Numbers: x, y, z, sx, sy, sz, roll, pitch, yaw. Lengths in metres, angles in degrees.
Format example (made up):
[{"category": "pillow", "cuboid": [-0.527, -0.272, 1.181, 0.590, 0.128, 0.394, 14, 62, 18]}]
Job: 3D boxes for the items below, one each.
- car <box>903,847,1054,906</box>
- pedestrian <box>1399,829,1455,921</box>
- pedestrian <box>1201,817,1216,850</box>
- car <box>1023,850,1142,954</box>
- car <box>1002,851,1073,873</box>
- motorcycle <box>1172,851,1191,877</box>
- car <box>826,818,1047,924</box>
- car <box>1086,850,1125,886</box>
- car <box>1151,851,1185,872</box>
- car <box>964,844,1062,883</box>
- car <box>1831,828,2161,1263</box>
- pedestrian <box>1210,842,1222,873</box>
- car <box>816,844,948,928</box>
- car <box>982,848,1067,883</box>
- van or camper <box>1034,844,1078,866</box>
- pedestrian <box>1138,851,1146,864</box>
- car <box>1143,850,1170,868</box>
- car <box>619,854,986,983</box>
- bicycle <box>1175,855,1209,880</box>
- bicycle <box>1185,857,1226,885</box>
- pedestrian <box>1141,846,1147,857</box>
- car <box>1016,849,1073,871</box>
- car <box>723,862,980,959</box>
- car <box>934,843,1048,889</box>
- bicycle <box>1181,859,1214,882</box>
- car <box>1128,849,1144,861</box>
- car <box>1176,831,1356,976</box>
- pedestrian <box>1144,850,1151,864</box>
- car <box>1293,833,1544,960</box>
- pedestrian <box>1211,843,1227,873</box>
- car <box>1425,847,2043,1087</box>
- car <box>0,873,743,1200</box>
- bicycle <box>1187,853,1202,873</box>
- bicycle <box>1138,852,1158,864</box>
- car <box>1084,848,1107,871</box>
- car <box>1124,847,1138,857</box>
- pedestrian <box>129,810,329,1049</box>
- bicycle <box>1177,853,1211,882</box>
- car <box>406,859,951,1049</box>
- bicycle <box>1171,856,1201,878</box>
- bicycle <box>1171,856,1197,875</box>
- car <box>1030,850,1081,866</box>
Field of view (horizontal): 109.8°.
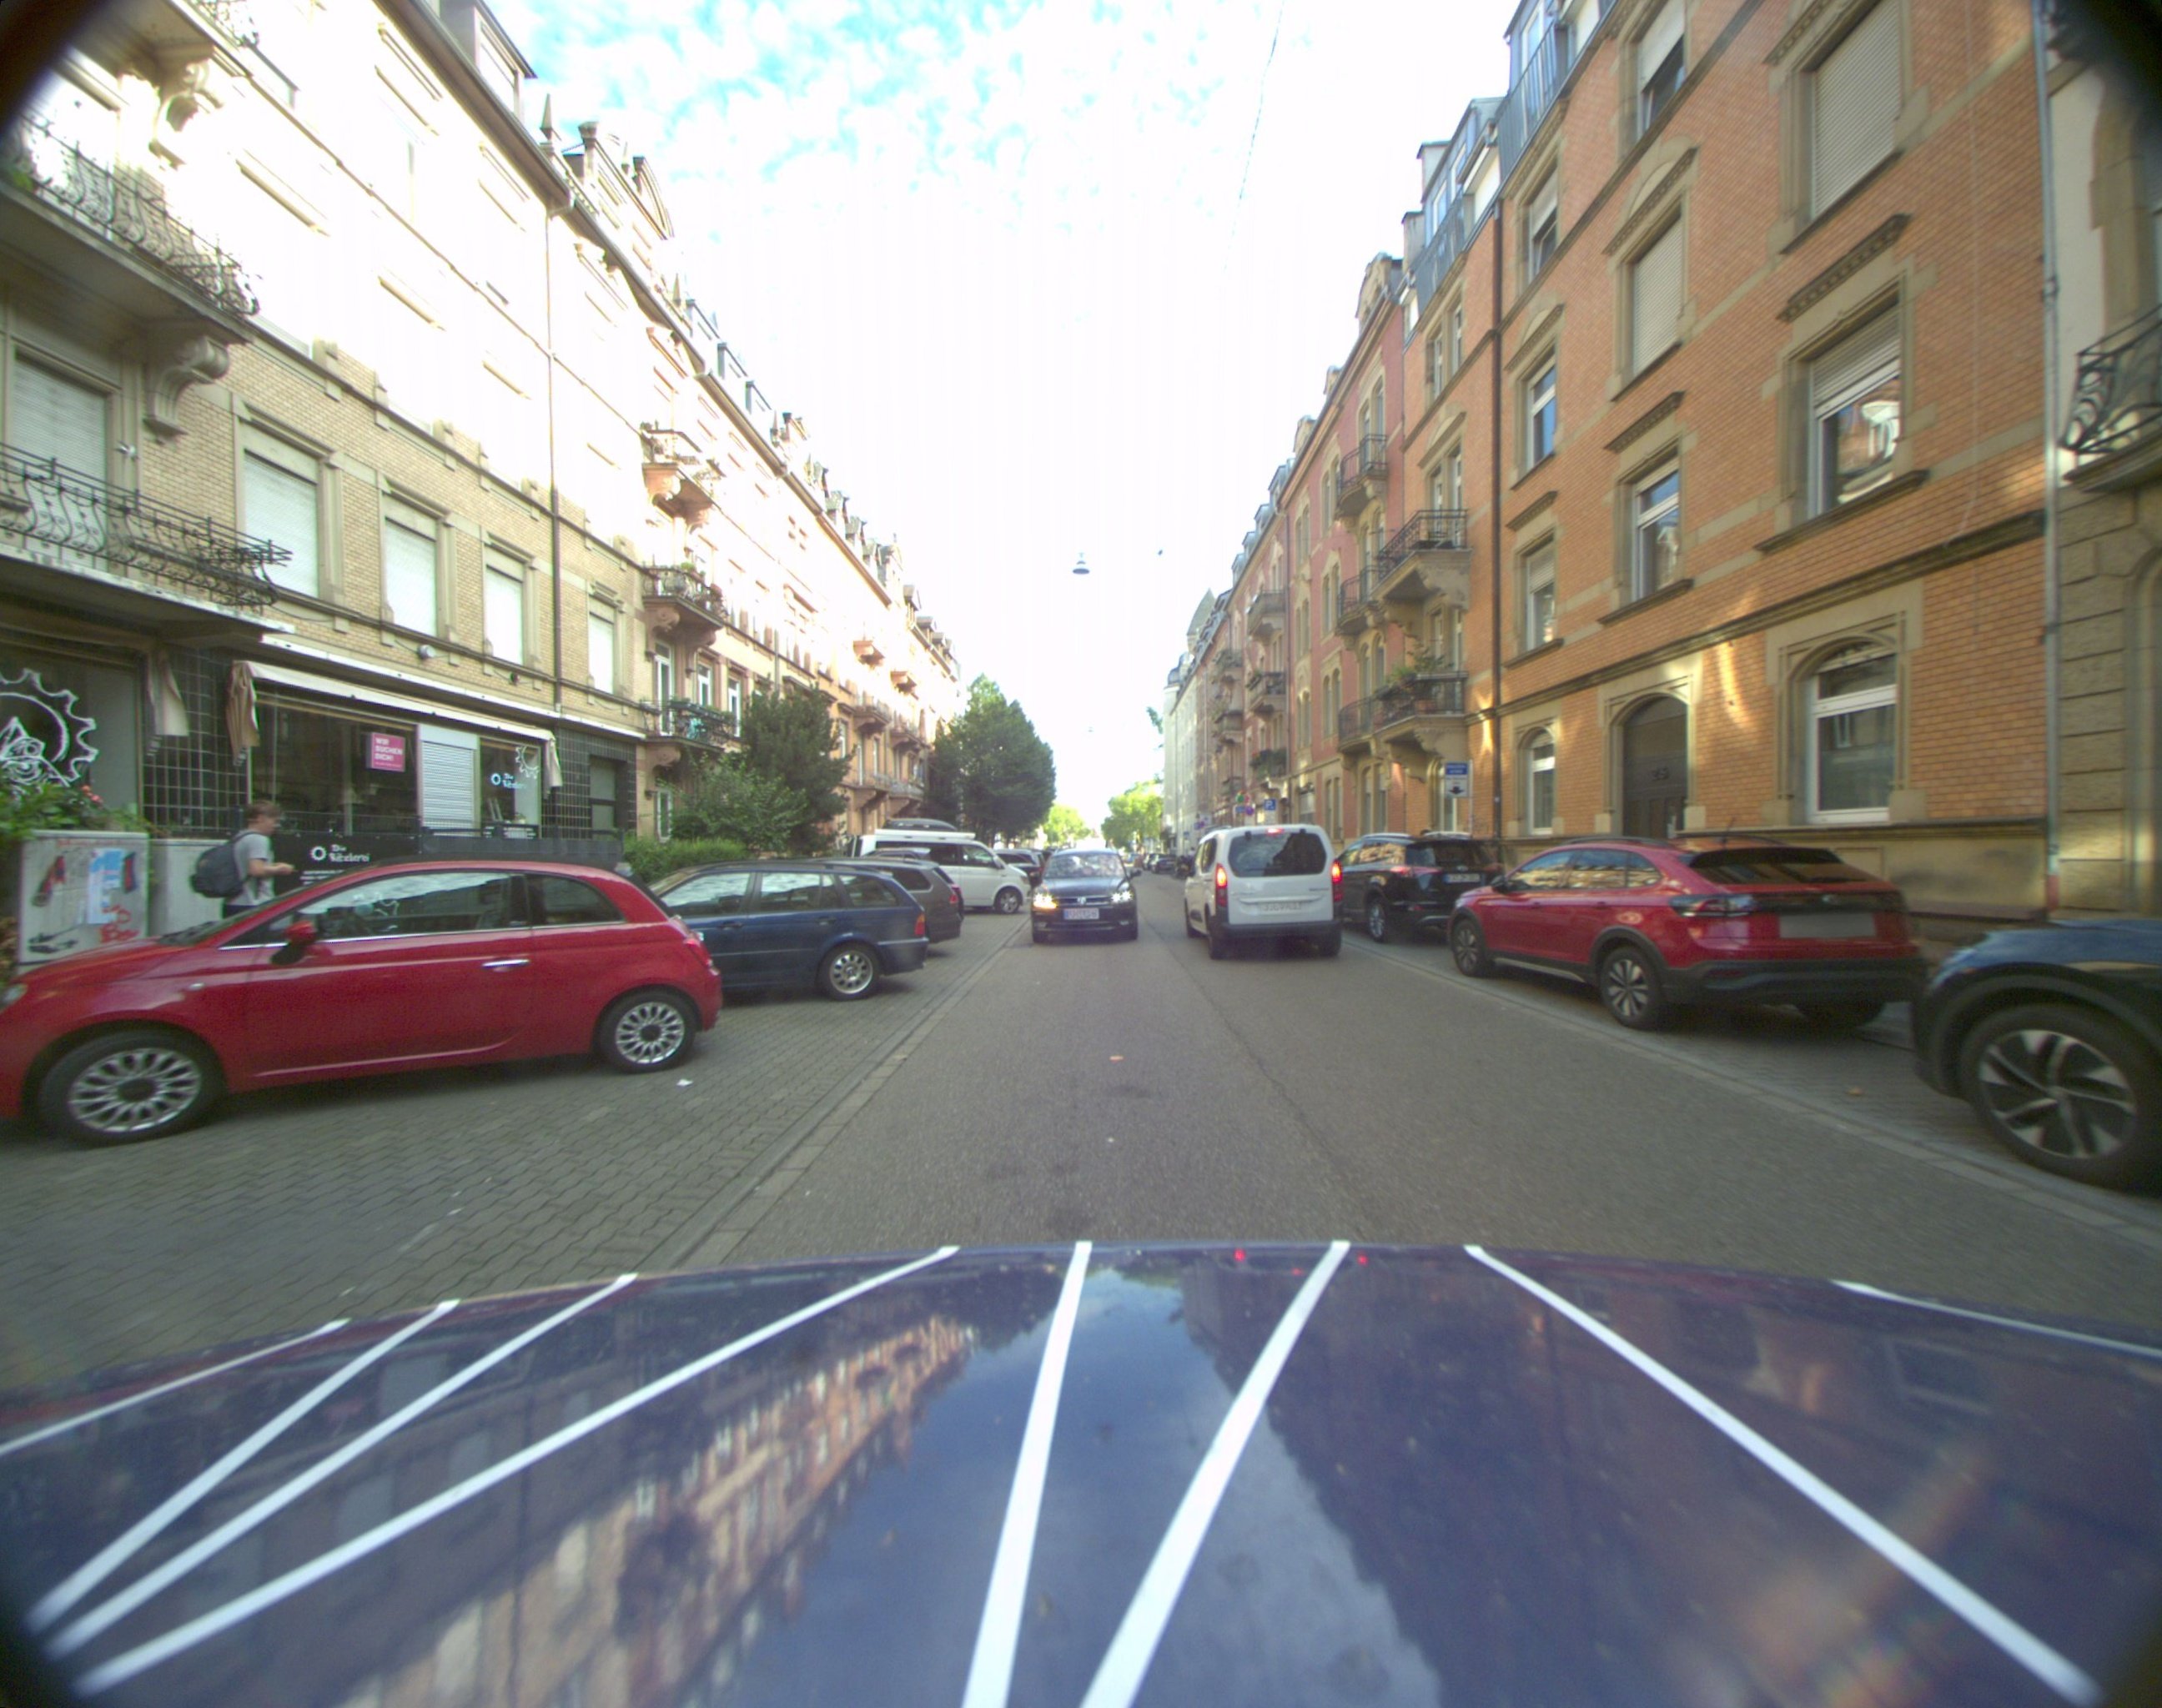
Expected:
[{"category": "car", "cuboid": [-3.343, 0.689, 25.014, 4.465, 1.722, 1.995, -1, 0, -34]}, {"category": "pedestrian", "cuboid": [7.072, 0.418, 15.575, 0.758, 1.797, 0.863, -2, 1, 5]}, {"category": "pedestrian", "cuboid": [7.367, -1.169, 43.882, 0.646, 1.881, 0.602, -1, 1, 31]}, {"category": "car", "cuboid": [0.189, 0.775, 14.625, 1.874, 1.644, 4.388, -2, 0, 5]}, {"category": "car", "cuboid": [-3.023, 0.578, 53.056, 4.620, 1.443, 1.788, 1, 0, -31]}, {"category": "motorcycle", "cuboid": [5.574, 0.527, 42.090, 0.708, 1.376, 2.026, -2, 1, 16]}, {"category": "car", "cuboid": [-3.586, 0.376, 19.287, 5.169, 2.391, 1.913, 0, 1, -32]}, {"category": "car", "cuboid": [1.265, 0.663, 38.467, 1.810, 1.622, 4.001, -3, 0, 2]}, {"category": "car", "cuboid": [6.001, 0.481, 52.884, 1.816, 1.343, 5.114, -1, 0, 0]}, {"category": "car", "cuboid": [-3.281, 0.479, 37.019, 4.411, 1.812, 1.750, 1, 1, -30]}, {"category": "car", "cuboid": [4.887, 0.723, 1.648, 1.795, 1.619, 4.847, 0, 1, 1]}, {"category": "pedestrian", "cuboid": [7.792, 0.213, 43.862, 0.605, 1.741, 0.726, -1, 1, 12]}, {"category": "car", "cuboid": [-4.248, 0.699, 16.214, 2.472, 1.656, 1.344, 3, -1, -25]}, {"category": "car", "cuboid": [-2.962, 0.578, 39.662, 4.007, 1.731, 1.835, 1, 0, -30]}, {"category": "van or camper", "cuboid": [-2.539, 0.091, 78.157, 4.006, 2.166, 1.995, -2, 1, -29]}, {"category": "pedestrian", "cuboid": [6.190, 0.343, 77.260, 0.738, 1.341, 0.644, -2, 1, 4]}, {"category": "car", "cuboid": [6.188, 0.383, 62.745, 1.674, 1.407, 4.011, -2, 0, -2]}, {"category": "car", "cuboid": [-3.791, 0.817, 10.768, 4.479, 1.468, 1.884, 3, -1, -38]}, {"category": "bicycle", "cuboid": [5.768, 0.692, 39.572, 1.794, 1.193, 0.589, -2, 1, -35]}, {"category": "bicycle", "cuboid": [5.642, 0.755, 34.304, 0.806, 1.152, 2.274, -1, 1, 39]}, {"category": "pedestrian", "cuboid": [9.264, -0.356, 111.672, 0.845, 1.699, 0.879, -2, 1, 1]}, {"category": "car", "cuboid": [-2.828, 0.446, 59.332, 4.007, 1.689, 1.848, 0, 0, -34]}, {"category": "car", "cuboid": [-3.976, 0.885, 13.507, 4.003, 1.451, 1.746, 1, 0, -40]}, {"category": "car", "cuboid": [-3.807, 0.527, 32.841, 4.648, 1.774, 1.810, 2, -1, 0]}, {"category": "bicycle", "cuboid": [5.993, 0.824, 38.981, 1.741, 1.114, 0.554, -2, 1, -35]}, {"category": "car", "cuboid": [7.170, 0.069, 99.181, 1.828, 1.477, 4.170, -2, 0, 1]}, {"category": "car", "cuboid": [2.651, 0.623, 11.983, 1.922, 1.817, 4.438, -2, 1, 3]}, {"category": "pedestrian", "cuboid": [6.726, 0.290, 76.670, 0.689, 1.365, 0.739, -2, 1, 5]}, {"category": "car", "cuboid": [5.316, 0.591, 12.849, 1.878, 1.671, 4.893, -2, 0, -2]}, {"category": "pedestrian", "cuboid": [8.215, 0.217, 45.240, 0.688, 1.749, 0.667, -1, 1, 31]}, {"category": "car", "cuboid": [5.207, 0.710, 7.114, 1.998, 1.536, 4.426, 0, 1, 0]}, {"category": "car", "cuboid": [-4.427, 0.879, 4.998, 3.727, 1.476, 1.736, 1, 0, -37]}, {"category": "bicycle", "cuboid": [6.254, 0.486, 41.855, 0.579, 1.084, 1.740, -2, 1, 14]}, {"category": "bicycle", "cuboid": [6.668, 0.404, 75.545, 1.872, 1.168, 0.688, -2, 1, 3]}, {"category": "car", "cuboid": [1.319, 0.473, 66.738, 1.810, 1.914, 4.001, -3, 0, 2]}, {"category": "car", "cuboid": [7.343, -0.287, 111.660, 1.911, 1.412, 4.000, -2, 0, 1]}, {"category": "pedestrian", "cuboid": [-7.036, 0.588, 6.313, 0.841, 1.867, 0.723, 0, 1, 6]}, {"category": "bicycle", "cuboid": [5.414, 0.655, 36.465, 1.680, 1.314, 0.526, -2, 1, -34]}, {"category": "car", "cuboid": [-3.818, 0.837, 7.865, 4.477, 1.455, 1.875, 2, -1, -33]}, {"category": "bicycle", "cuboid": [5.564, 0.691, 40.192, 1.573, 1.114, 0.589, -2, 1, -35]}, {"category": "bicycle", "cuboid": [6.056, 0.668, 44.699, 1.577, 1.110, 0.375, -1, 1, 40]}, {"category": "car", "cuboid": [-2.516, 0.404, 75.617, 4.816, 1.535, 1.866, 1, 1, -31]}]
